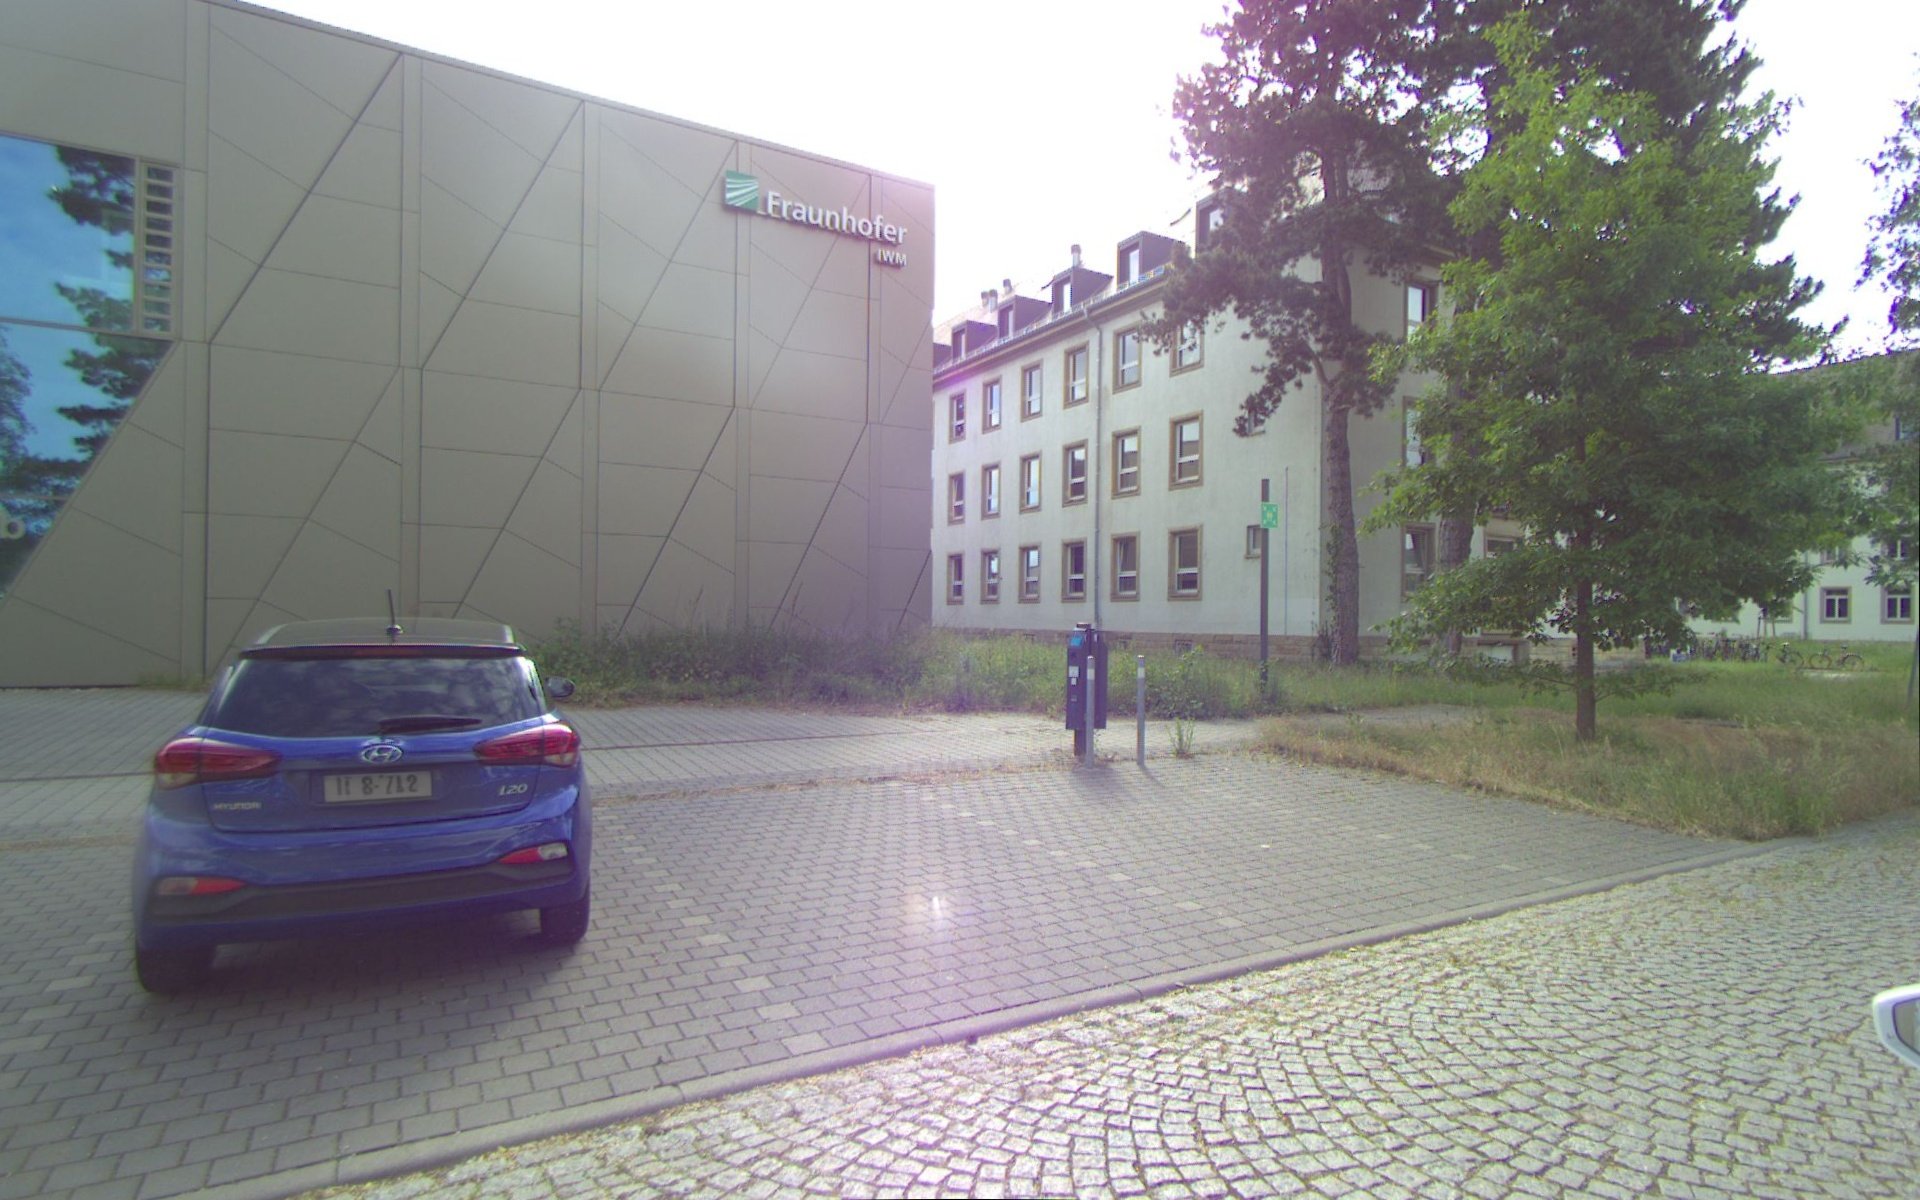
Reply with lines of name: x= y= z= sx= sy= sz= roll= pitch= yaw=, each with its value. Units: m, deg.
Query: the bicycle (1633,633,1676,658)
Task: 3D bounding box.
bicycle: x=31.213 y=2.017 z=45.130 sx=2.246 sy=1.090 sz=0.732 roll=1 pitch=-1 yaw=-30

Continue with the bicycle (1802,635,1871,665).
bicycle: x=33.566 y=1.894 z=38.486 sx=0.821 sy=1.090 sz=1.849 roll=1 pitch=-1 yaw=-27

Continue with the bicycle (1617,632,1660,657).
bicycle: x=30.936 y=2.016 z=45.788 sx=2.246 sy=1.090 sz=0.732 roll=1 pitch=-1 yaw=-30

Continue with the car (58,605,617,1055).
car: x=-3.134 y=0.822 z=5.578 sx=1.828 sy=1.498 sz=3.752 roll=1 pitch=0 yaw=-27

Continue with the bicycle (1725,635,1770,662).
bicycle: x=32.967 y=2.021 z=42.038 sx=2.246 sy=1.090 sz=0.732 roll=1 pitch=-1 yaw=-30

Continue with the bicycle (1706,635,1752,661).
bicycle: x=32.589 y=2.032 z=42.557 sx=2.246 sy=1.090 sz=0.732 roll=1 pitch=-1 yaw=-30

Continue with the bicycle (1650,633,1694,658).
bicycle: x=31.506 y=2.011 z=44.455 sx=2.246 sy=1.090 sz=0.732 roll=1 pitch=-1 yaw=-30

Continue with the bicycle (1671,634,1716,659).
bicycle: x=32.238 y=2.041 z=44.139 sx=2.246 sy=1.090 sz=0.732 roll=1 pitch=-1 yaw=-30

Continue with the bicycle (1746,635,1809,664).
bicycle: x=32.621 y=1.970 z=40.112 sx=0.729 sy=1.090 sz=1.849 roll=1 pitch=-1 yaw=-27

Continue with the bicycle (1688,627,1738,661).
bicycle: x=32.533 y=1.898 z=43.386 sx=2.679 sy=1.404 sz=0.732 roll=1 pitch=-1 yaw=-30
